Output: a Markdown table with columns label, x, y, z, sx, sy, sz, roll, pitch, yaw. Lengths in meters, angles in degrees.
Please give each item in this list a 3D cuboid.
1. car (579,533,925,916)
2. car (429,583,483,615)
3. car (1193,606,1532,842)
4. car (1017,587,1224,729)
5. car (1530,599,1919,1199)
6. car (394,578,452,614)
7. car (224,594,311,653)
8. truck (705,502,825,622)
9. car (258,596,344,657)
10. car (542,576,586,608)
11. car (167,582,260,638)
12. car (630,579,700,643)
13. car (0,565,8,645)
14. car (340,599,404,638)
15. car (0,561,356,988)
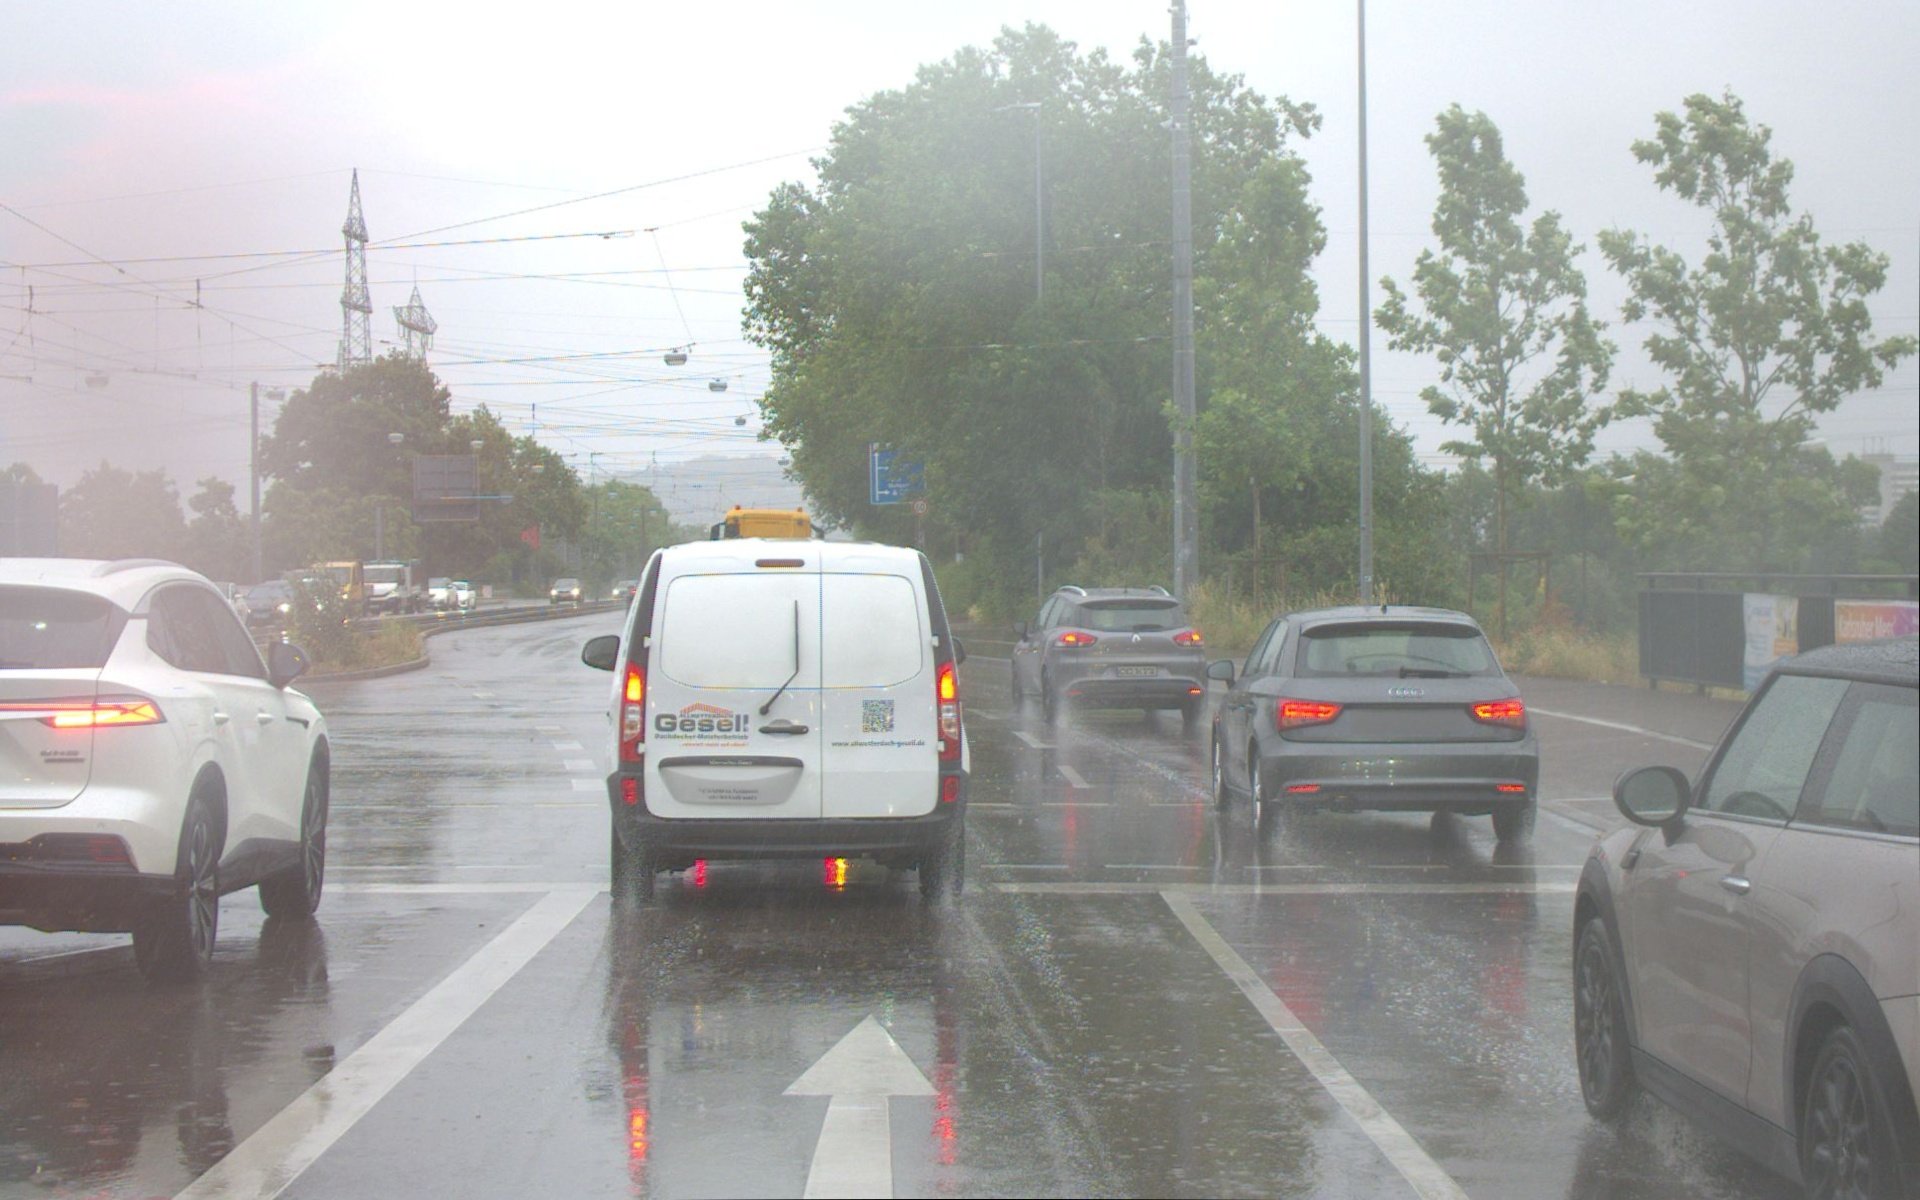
| label | x | y | z | sx | sy | sz | roll | pitch | yaw |
| --- | --- | --- | --- | --- | --- | --- | --- | --- | --- |
| car | -0.992 | 0.589 | 18.060 | 1.566 | 1.782 | 4.000 | 0 | 0 | 0 |
| car | -25.197 | -0.039 | 172.097 | 1.993 | 1.581 | 4.000 | 1 | 0 | 2 |
| car | 2.446 | 0.724 | 21.646 | 1.629 | 1.340 | 3.624 | 1 | 0 | -1 |
| car | 1.691 | 0.590 | 37.376 | 1.859 | 1.424 | 3.808 | 1 | 0 | -3 |
| car | 2.604 | 0.762 | 8.470 | 1.713 | 1.503 | 3.624 | 1 | 0 | -1 |
| car | -25.686 | -0.182 | 164.549 | 1.993 | 1.702 | 4.000 | 1 | 0 | 2 |
| car | -21.677 | 0.745 | 107.732 | 1.824 | 1.801 | 3.768 | 1 | 0 | 2 |
| truck | -4.734 | -0.874 | 84.738 | 2.632 | 2.807 | 7.145 | 1 | 0 | -1 |
| car | -22.051 | 0.891 | 115.159 | 1.993 | 2.007 | 4.000 | 1 | 0 | 2 |
| car | -23.032 | -0.453 | 200.114 | 1.993 | 1.751 | 4.000 | 1 | 0 | 2 |
| car | -21.438 | 0.302 | 98.876 | 1.763 | 1.544 | 3.680 | 1 | 0 | 2 |
| car | -8.932 | 0.342 | 103.815 | 1.993 | 1.853 | 4.001 | 1 | 0 | -6 |
| car | -25.313 | 0.104 | 85.467 | 1.994 | 2.007 | 3.999 | 1 | 0 | 3 |
| car | -25.597 | 0.824 | 149.804 | 1.993 | 1.658 | 4.000 | 1 | 0 | 2 |
| car | -3.765 | 0.607 | 14.532 | 1.729 | 1.530 | 4.298 | 1 | 0 | -1 |
